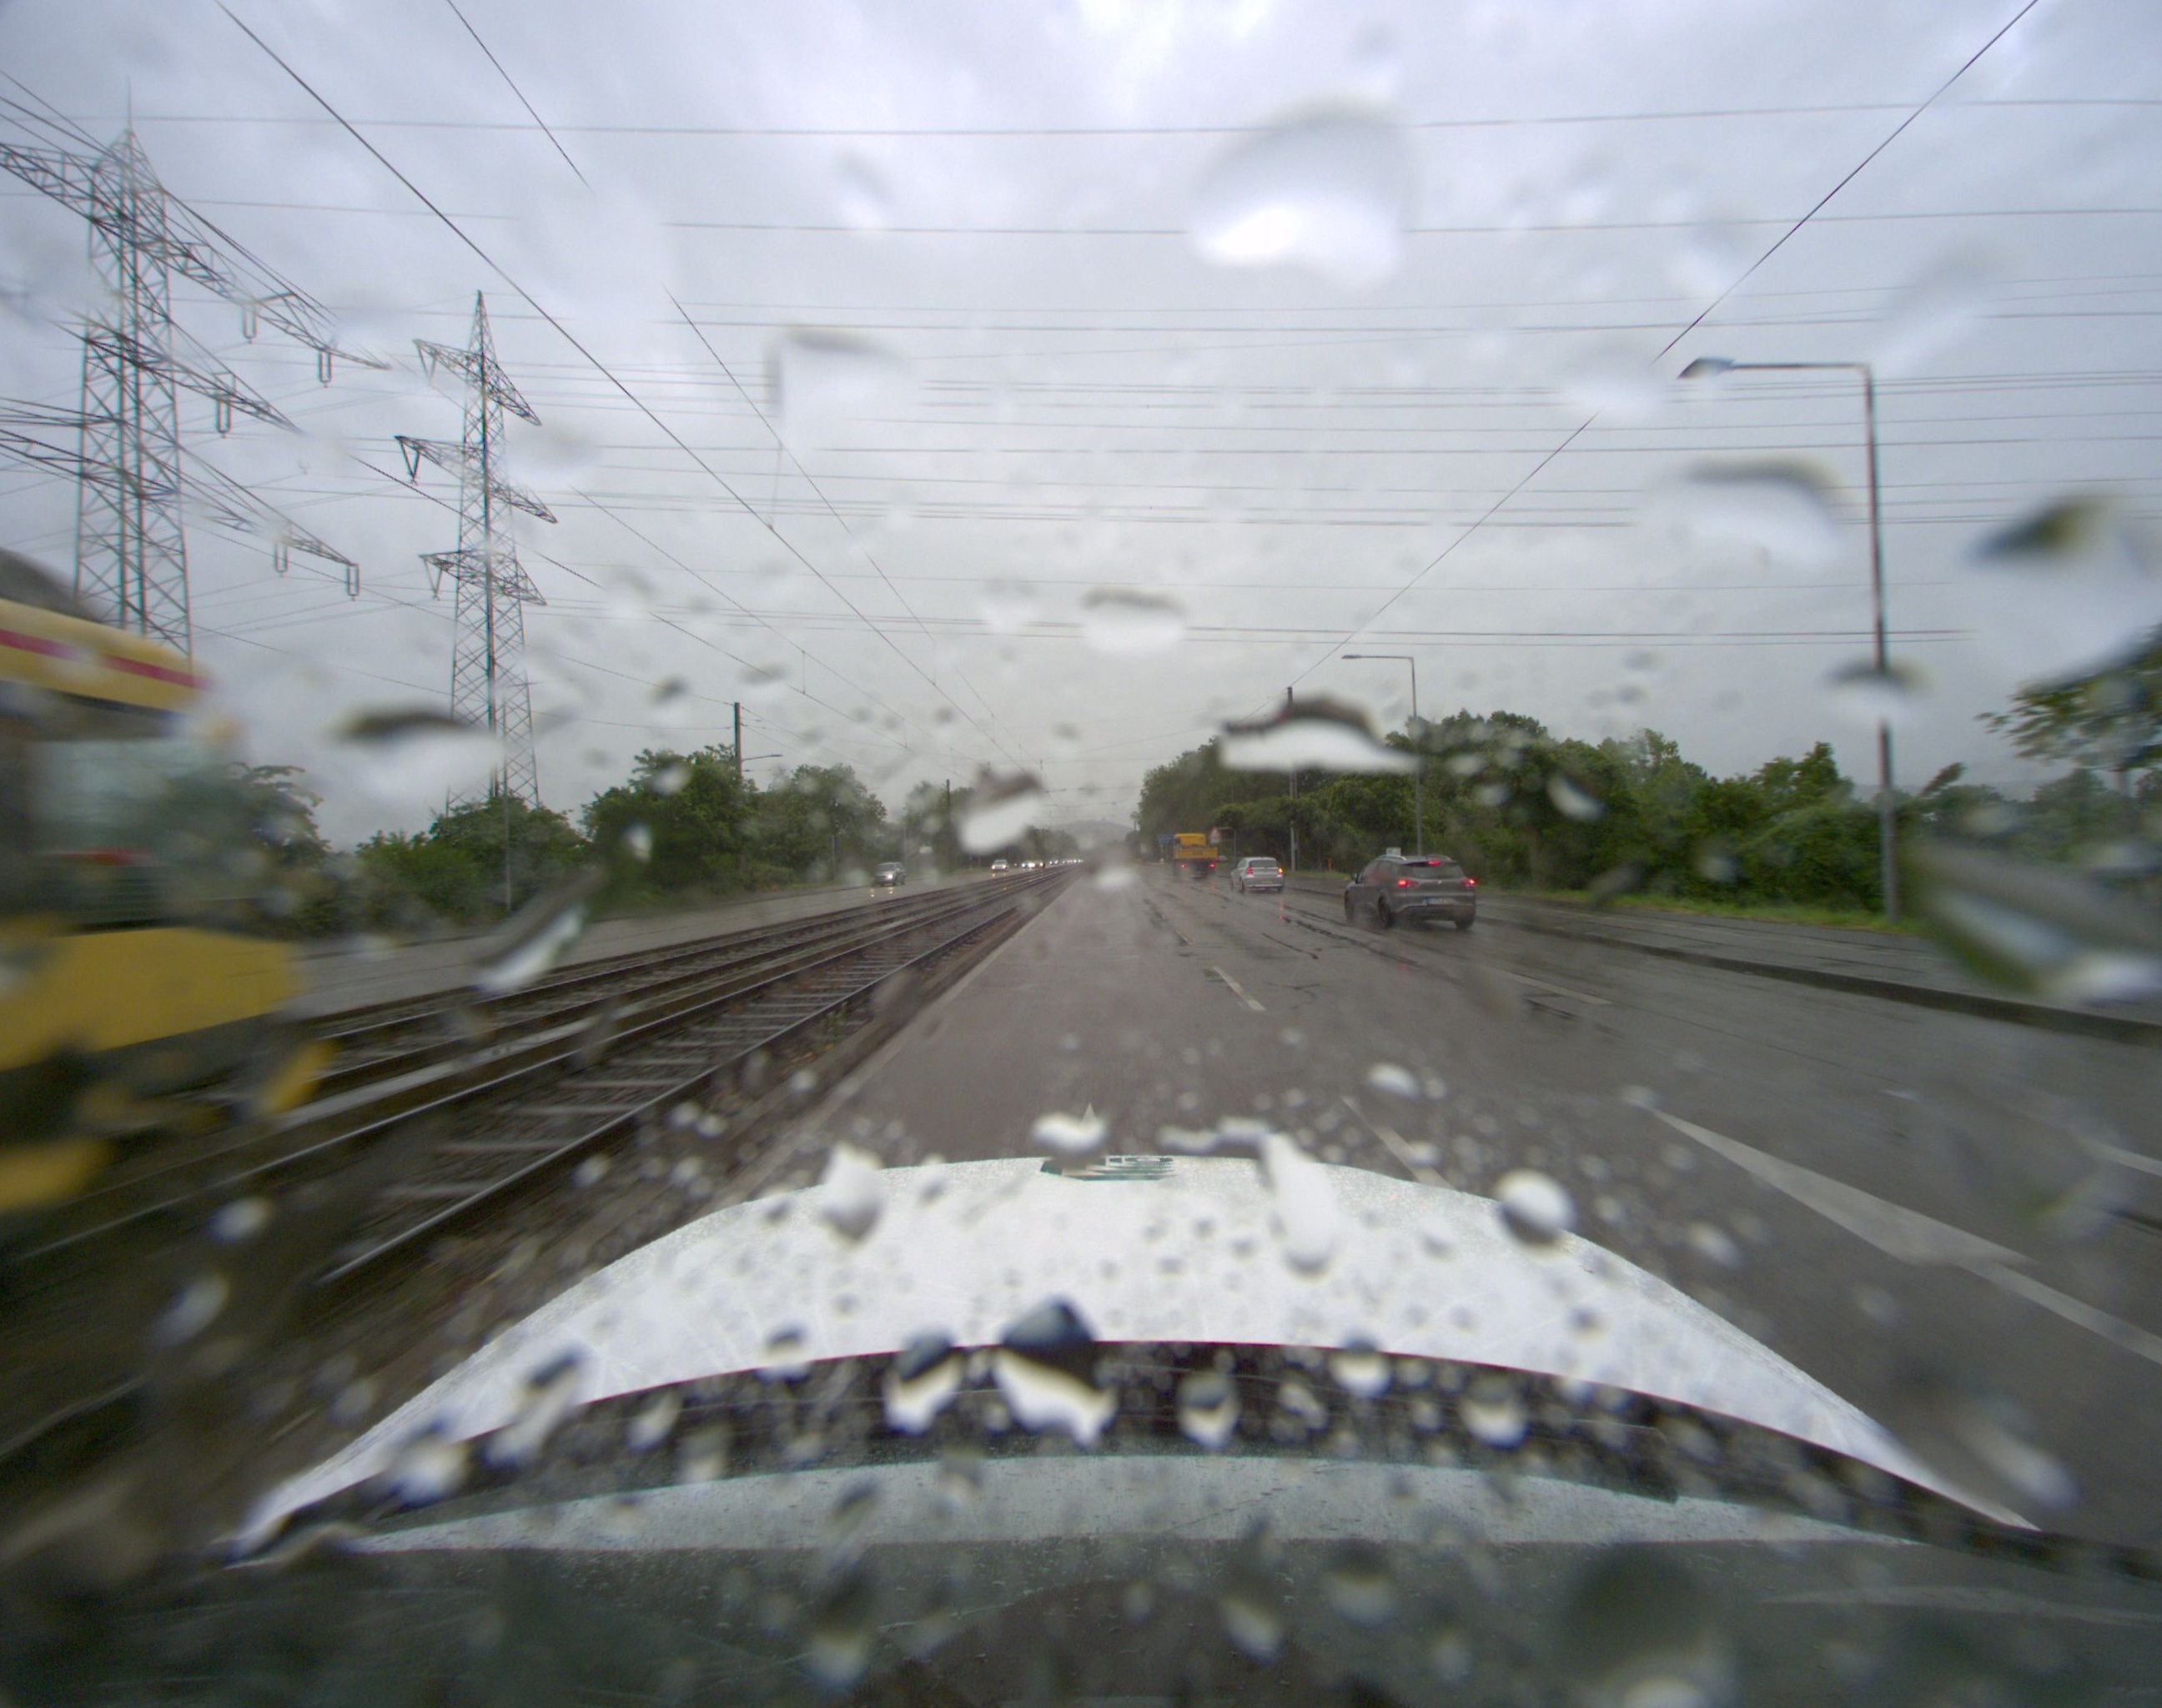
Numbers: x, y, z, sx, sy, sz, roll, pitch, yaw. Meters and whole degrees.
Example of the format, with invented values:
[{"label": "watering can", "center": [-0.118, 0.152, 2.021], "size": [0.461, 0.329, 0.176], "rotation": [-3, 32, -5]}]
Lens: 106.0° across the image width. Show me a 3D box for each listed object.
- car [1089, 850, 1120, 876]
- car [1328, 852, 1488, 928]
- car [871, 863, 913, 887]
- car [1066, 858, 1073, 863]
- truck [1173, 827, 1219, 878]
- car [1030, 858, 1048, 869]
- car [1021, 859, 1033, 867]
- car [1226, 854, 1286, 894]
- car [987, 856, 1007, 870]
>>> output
[{"label": "car", "center": [1.647, 0.558, 54.919], "size": [1.981, 1.684, 3.743], "rotation": [0, 1, 3]}, {"label": "car", "center": [6.746, 0.666, 17.337], "size": [1.880, 1.357, 4.280], "rotation": [0, 1, 3]}, {"label": "car", "center": [-14.168, 1.550, 61.302], "size": [1.818, 1.635, 5.138], "rotation": [0, 1, 1]}, {"label": "car", "center": [-3.146, 1.791, 219.822], "size": [1.735, 1.354, 4.548], "rotation": [0, 1, 2]}, {"label": "truck", "center": [7.820, -0.126, 56.078], "size": [2.545, 3.257, 6.938], "rotation": [0, 1, 3]}, {"label": "car", "center": [-6.500, 1.396, 126.989], "size": [1.984, 1.464, 5.258], "rotation": [-4, 0, 4]}, {"label": "car", "center": [-9.689, 1.561, 145.853], "size": [1.751, 1.362, 5.073], "rotation": [0, 1, 2]}, {"label": "car", "center": [7.182, 0.785, 33.895], "size": [1.620, 1.503, 4.608], "rotation": [0, 1, 1]}, {"label": "car", "center": [-10.458, 1.127, 101.643], "size": [1.836, 1.574, 5.068], "rotation": [0, 1, 1]}]
